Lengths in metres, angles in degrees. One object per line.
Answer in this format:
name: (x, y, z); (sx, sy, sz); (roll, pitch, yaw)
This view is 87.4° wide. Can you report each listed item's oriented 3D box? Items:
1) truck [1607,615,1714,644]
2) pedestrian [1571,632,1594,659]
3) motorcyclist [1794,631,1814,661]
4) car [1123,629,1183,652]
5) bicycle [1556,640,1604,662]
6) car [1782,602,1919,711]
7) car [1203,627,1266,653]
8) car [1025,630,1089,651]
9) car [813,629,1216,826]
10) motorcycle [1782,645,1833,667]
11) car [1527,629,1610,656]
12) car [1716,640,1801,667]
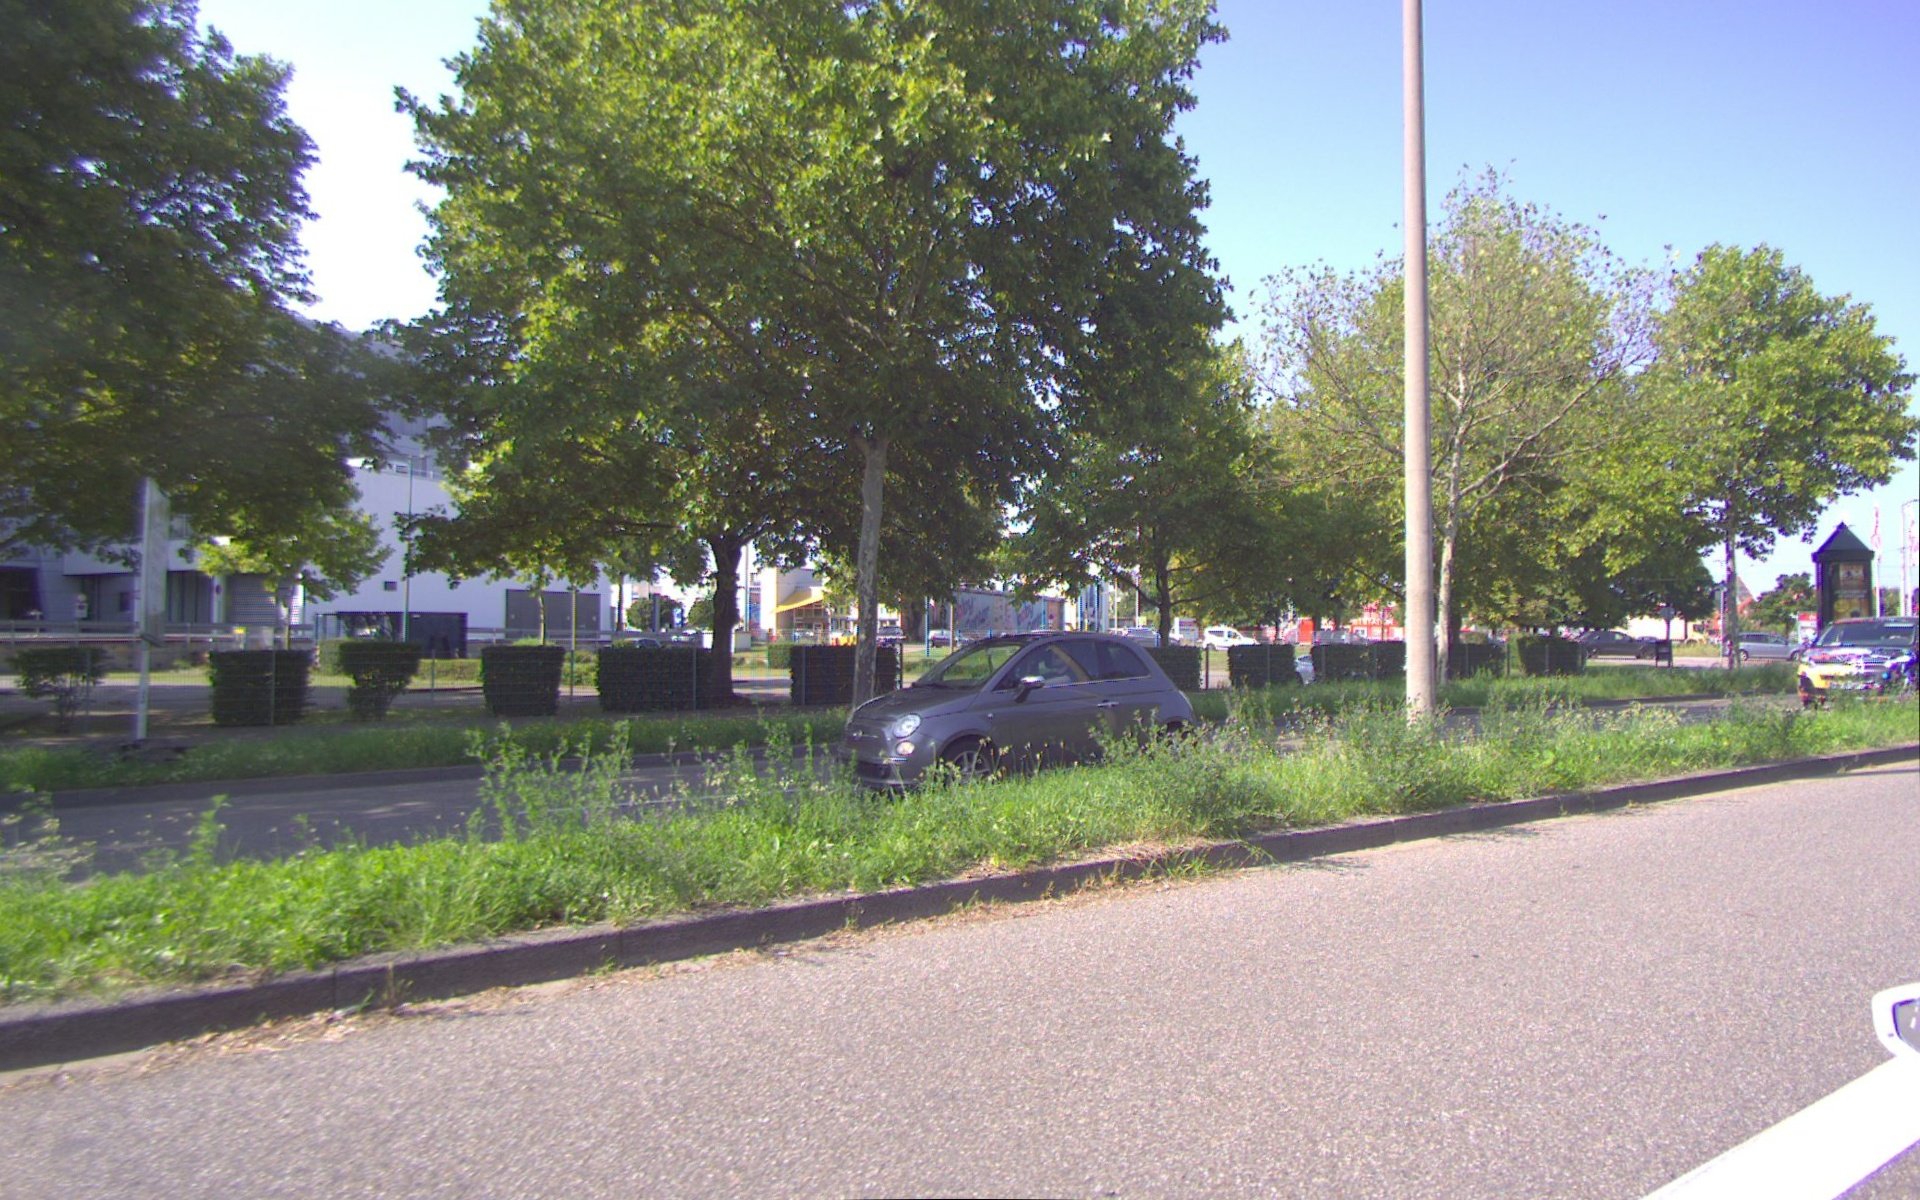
truck: (75.447, 3.214, 108.434); (8.842, 2.996, 3.513); (-1, -3, 24)
pedestrian: (36.914, 2.684, 59.615); (1.038, 1.595, 0.868); (0, -1, 24)
motorcyclist: (46.366, 2.524, 55.199); (0.671, 1.593, 0.683); (0, -1, 24)
car: (13.980, 2.938, 72.644); (3.924, 1.565, 1.839); (-1, -3, 25)
bicycle: (36.813, 3.011, 59.634); (2.315, 1.252, 0.873); (0, -1, 24)
car: (19.223, 1.145, 20.872); (4.515, 2.054, 1.922); (1, -3, -32)
car: (18.964, 2.720, 69.387); (3.923, 1.701, 1.870); (0, -1, 23)
car: (7.341, 3.052, 75.808); (4.500, 1.565, 1.870); (-1, -3, 21)
car: (0.553, 1.058, 9.417); (3.453, 1.505, 1.667); (2, -1, -32)
motorcycle: (46.494, 3.089, 55.123); (2.036, 1.151, 0.677); (0, -2, 25)
car: (37.607, 2.615, 62.182); (4.228, 1.600, 1.572); (0, -1, 22)
car: (46.455, 3.117, 58.501); (3.632, 1.462, 1.466); (0, -1, 24)
